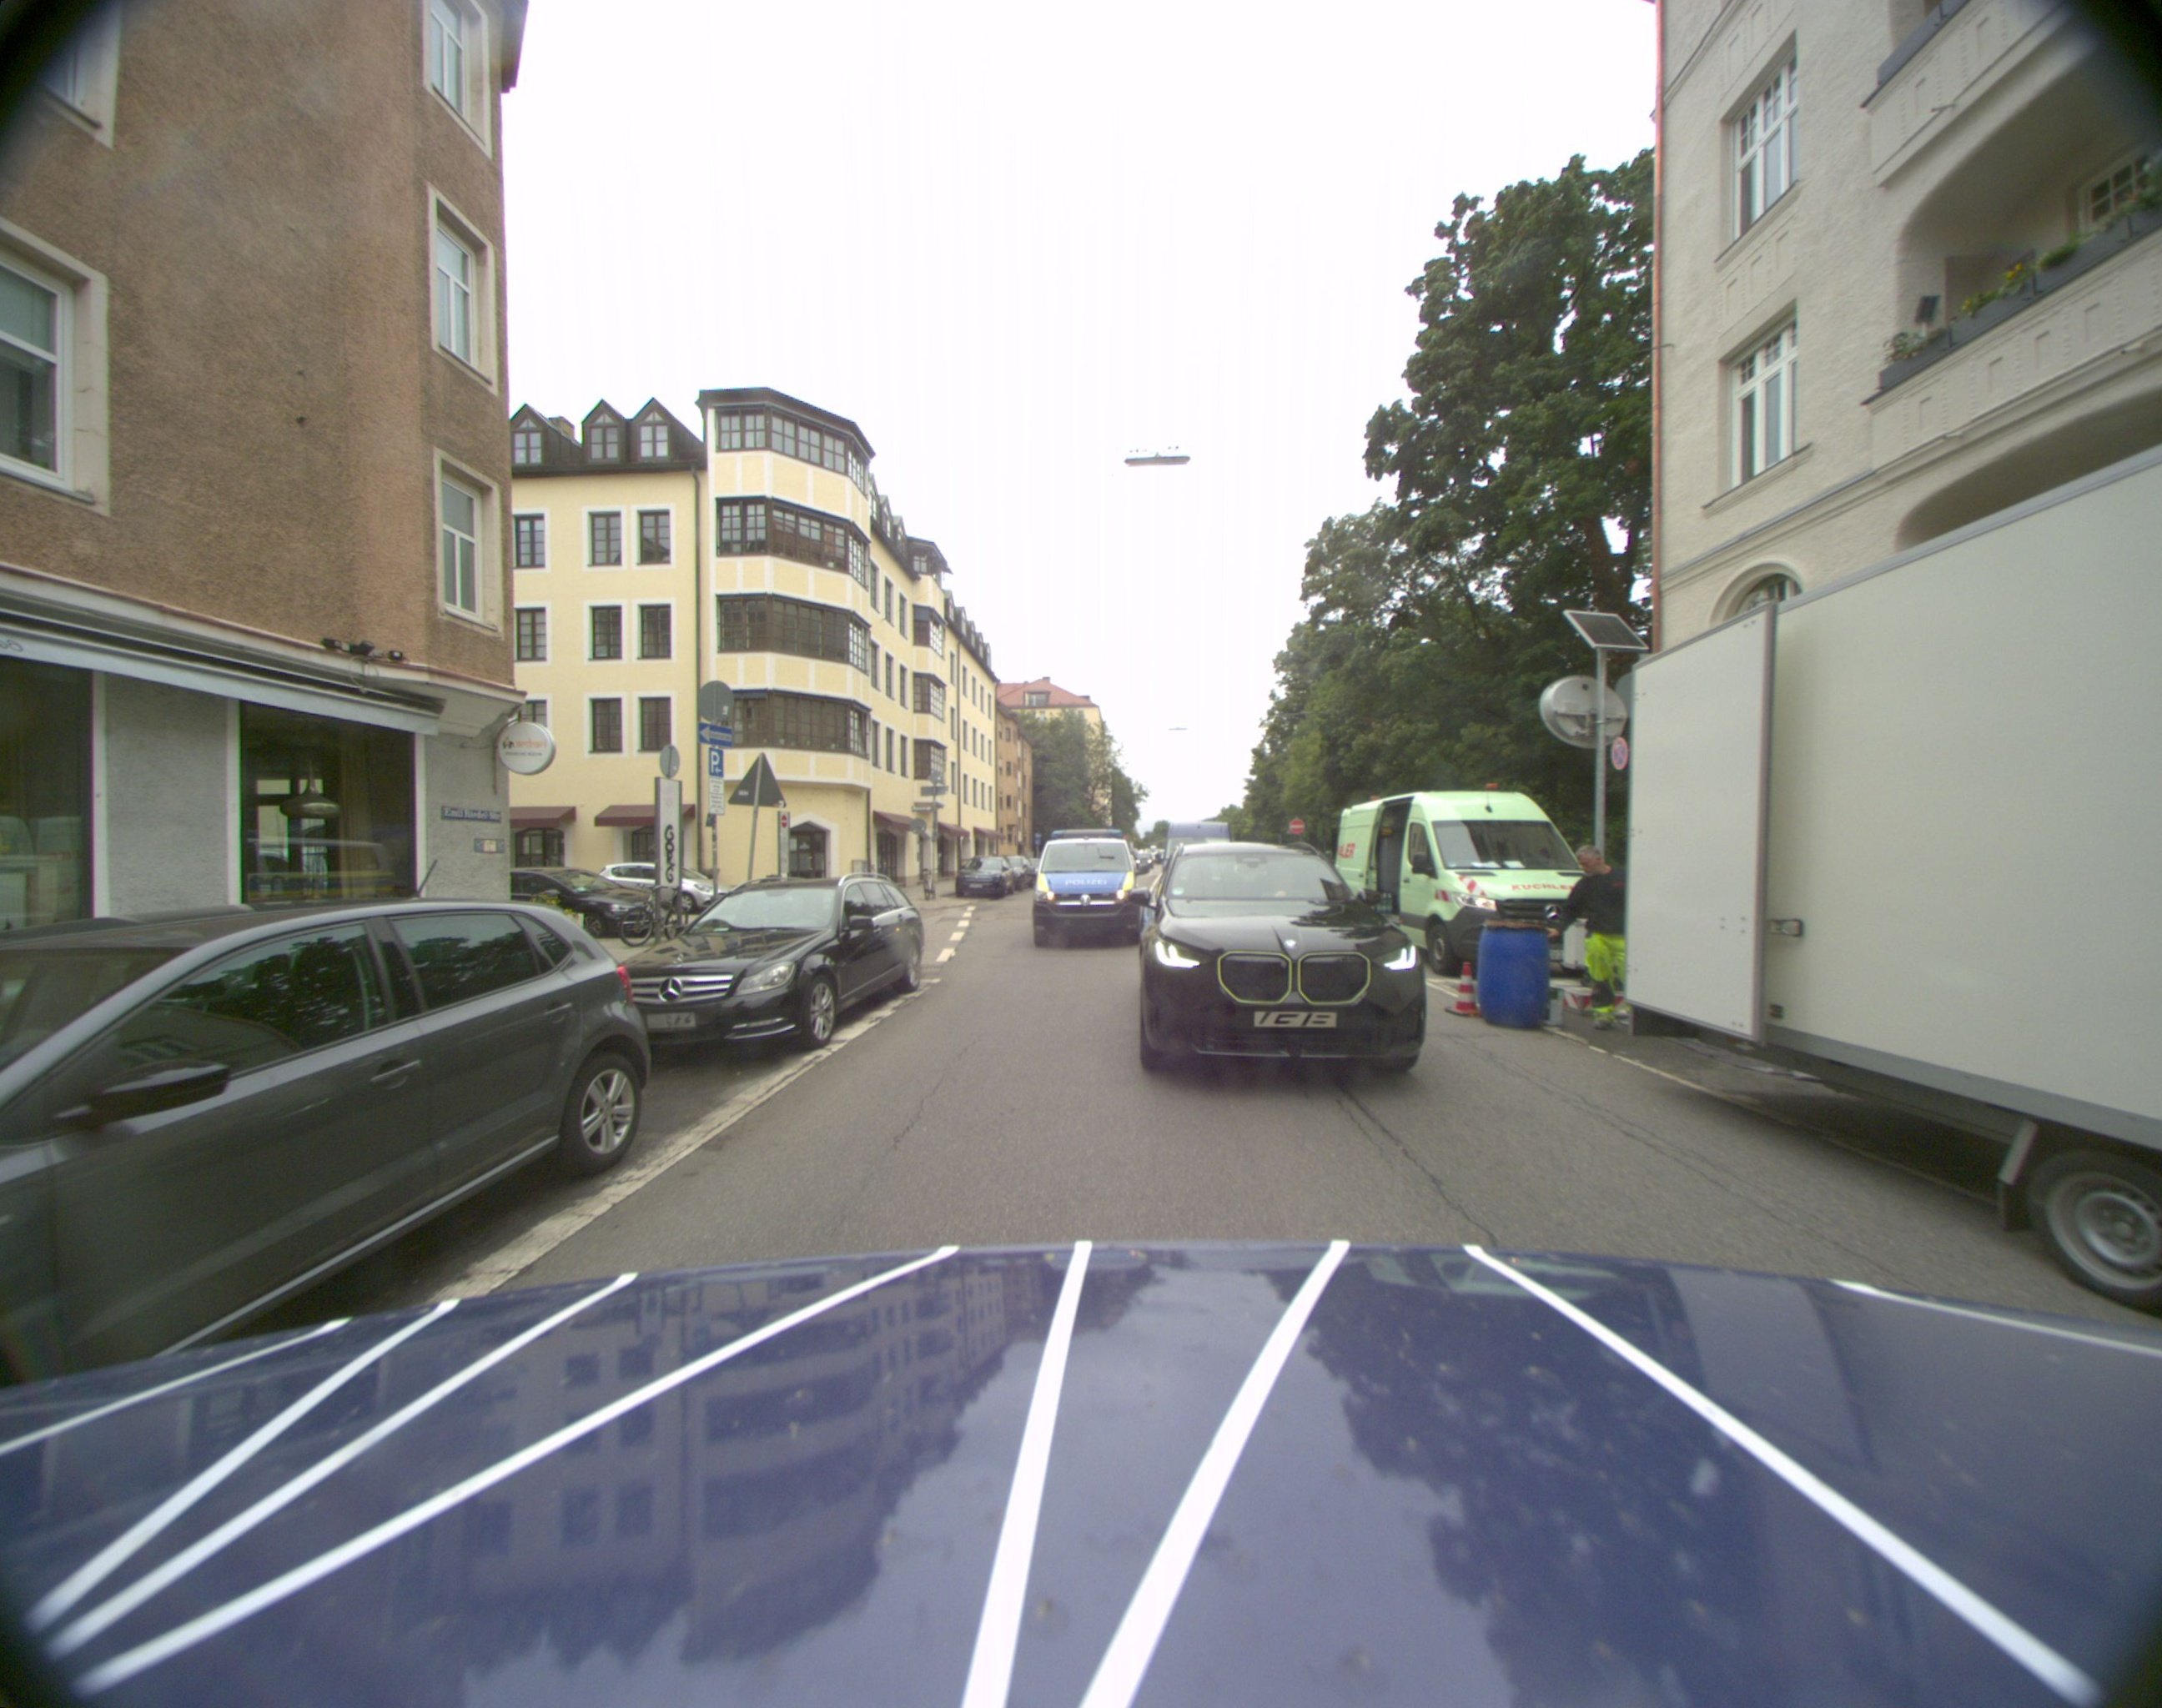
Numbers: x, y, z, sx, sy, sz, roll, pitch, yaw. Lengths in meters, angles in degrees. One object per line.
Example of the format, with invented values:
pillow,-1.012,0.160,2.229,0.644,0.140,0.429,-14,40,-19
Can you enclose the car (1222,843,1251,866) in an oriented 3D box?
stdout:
car,10.971,-0.009,53.409,1.816,1.455,4.168,4,1,13

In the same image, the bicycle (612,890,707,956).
bicycle,-7.337,1.168,13.317,0.496,0.999,1.804,1,-1,5

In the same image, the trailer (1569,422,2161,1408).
trailer,4.581,0.205,1.431,2.809,2.951,7.602,2,0,5

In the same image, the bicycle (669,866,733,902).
bicycle,-12.664,0.998,25.341,1.904,1.180,0.515,0,1,4

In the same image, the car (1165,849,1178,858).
car,13.886,-0.116,116.970,1.836,1.390,4.002,1,1,9

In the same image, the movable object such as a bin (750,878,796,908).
movable object such as a bin,-9.515,1.191,23.524,1.125,0.895,0.684,0,1,4

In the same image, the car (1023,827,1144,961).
car,0.268,0.629,14.897,1.826,2.086,5.635,-2,0,5

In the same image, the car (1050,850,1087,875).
car,-0.838,0.569,54.450,1.882,1.642,5.619,1,1,7

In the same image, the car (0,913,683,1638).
car,-3.217,1.075,2.438,1.576,1.386,4.182,0,1,1

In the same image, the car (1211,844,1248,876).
car,8.205,0.291,41.992,1.816,1.580,4.167,4,1,11

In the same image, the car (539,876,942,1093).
car,-2.934,1.031,7.947,1.851,1.397,4.788,-1,0,3

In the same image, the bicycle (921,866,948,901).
bicycle,-5.278,1.040,27.379,0.430,1.152,2.053,1,1,4

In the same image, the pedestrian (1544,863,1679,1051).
pedestrian,4.744,0.879,6.826,0.764,1.571,0.636,-1,1,-15

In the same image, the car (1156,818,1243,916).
car,3.676,0.273,22.529,2.003,2.477,6.238,-1,1,14

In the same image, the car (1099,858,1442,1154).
car,1.411,0.865,6.509,1.920,1.557,4.296,0,1,10

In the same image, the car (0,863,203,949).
car,-21.755,1.049,16.185,3.993,1.634,1.979,0,1,5

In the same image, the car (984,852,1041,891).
car,-3.227,0.781,36.581,1.817,1.580,4.165,4,1,6

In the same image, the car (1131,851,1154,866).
car,5.824,0.405,71.166,1.836,1.390,4.002,1,1,9

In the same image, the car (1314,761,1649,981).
car,5.737,0.201,12.329,2.146,2.557,6.795,-1,0,3

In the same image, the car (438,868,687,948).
car,-10.595,1.083,15.727,3.881,1.479,1.892,0,1,3

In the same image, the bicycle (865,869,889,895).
bicycle,-7.941,1.072,29.634,0.262,0.897,1.696,4,1,5

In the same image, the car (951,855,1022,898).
car,-3.812,0.865,31.364,2.111,1.613,4.497,-1,1,3

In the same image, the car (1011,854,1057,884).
car,-2.521,0.787,41.663,1.763,1.514,3.934,1,1,8

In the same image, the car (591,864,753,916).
car,-11.723,1.020,21.896,3.741,1.431,1.753,0,-2,7

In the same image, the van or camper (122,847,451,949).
van or camper,-16.360,0.860,15.823,4.910,1.908,1.961,-1,3,4

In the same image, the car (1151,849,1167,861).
car,9.839,0.106,95.879,1.836,1.390,4.002,1,1,9

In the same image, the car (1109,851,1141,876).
car,3.043,0.636,51.551,1.997,1.587,4.001,1,1,6
